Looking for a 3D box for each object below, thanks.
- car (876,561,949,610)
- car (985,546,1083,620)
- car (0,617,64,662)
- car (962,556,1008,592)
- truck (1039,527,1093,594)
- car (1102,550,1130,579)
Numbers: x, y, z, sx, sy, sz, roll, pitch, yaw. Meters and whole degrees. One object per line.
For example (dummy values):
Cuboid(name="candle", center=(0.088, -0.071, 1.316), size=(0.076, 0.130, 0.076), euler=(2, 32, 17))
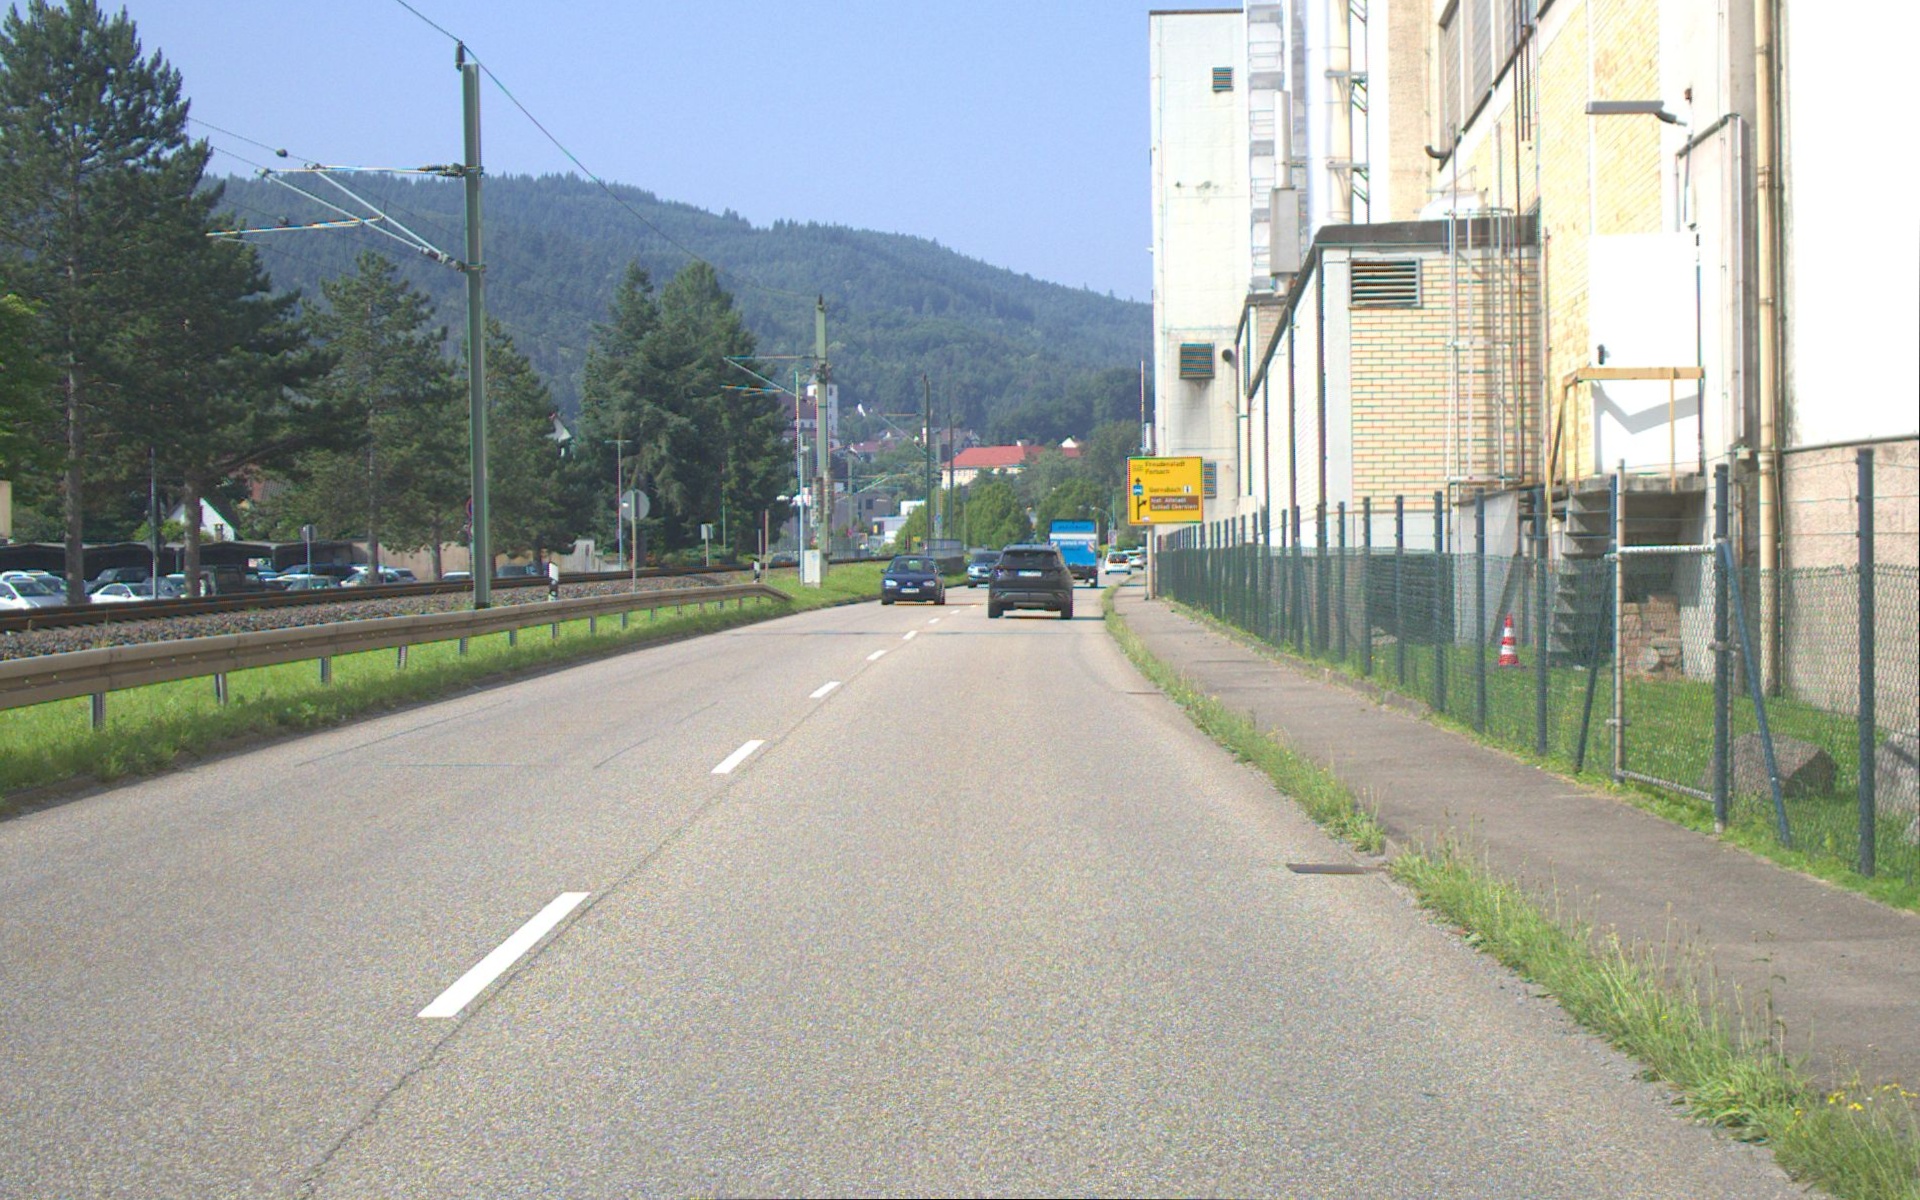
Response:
Cuboid(name="car", center=(-1.348, -0.436, 99.539), size=(1.764, 1.398, 4.119), euler=(0, 1, 4))
Cuboid(name="car", center=(1.699, -0.395, 77.653), size=(1.920, 1.634, 3.999), euler=(0, 1, 5))
Cuboid(name="car", center=(-32.128, 1.334, 116.838), size=(1.683, 1.439, 3.851), euler=(-1, 1, -41))
Cuboid(name="car", center=(1.125, -1.150, 153.243), size=(1.906, 1.595, 4.570), euler=(0, 0, 2))
Cuboid(name="truck", center=(4.765, -1.785, 155.231), size=(2.312, 2.960, 5.966), euler=(0, 1, 1))
Cuboid(name="car", center=(10.130, -2.310, 223.171), size=(1.667, 1.816, 3.751), euler=(0, 1, 4))
